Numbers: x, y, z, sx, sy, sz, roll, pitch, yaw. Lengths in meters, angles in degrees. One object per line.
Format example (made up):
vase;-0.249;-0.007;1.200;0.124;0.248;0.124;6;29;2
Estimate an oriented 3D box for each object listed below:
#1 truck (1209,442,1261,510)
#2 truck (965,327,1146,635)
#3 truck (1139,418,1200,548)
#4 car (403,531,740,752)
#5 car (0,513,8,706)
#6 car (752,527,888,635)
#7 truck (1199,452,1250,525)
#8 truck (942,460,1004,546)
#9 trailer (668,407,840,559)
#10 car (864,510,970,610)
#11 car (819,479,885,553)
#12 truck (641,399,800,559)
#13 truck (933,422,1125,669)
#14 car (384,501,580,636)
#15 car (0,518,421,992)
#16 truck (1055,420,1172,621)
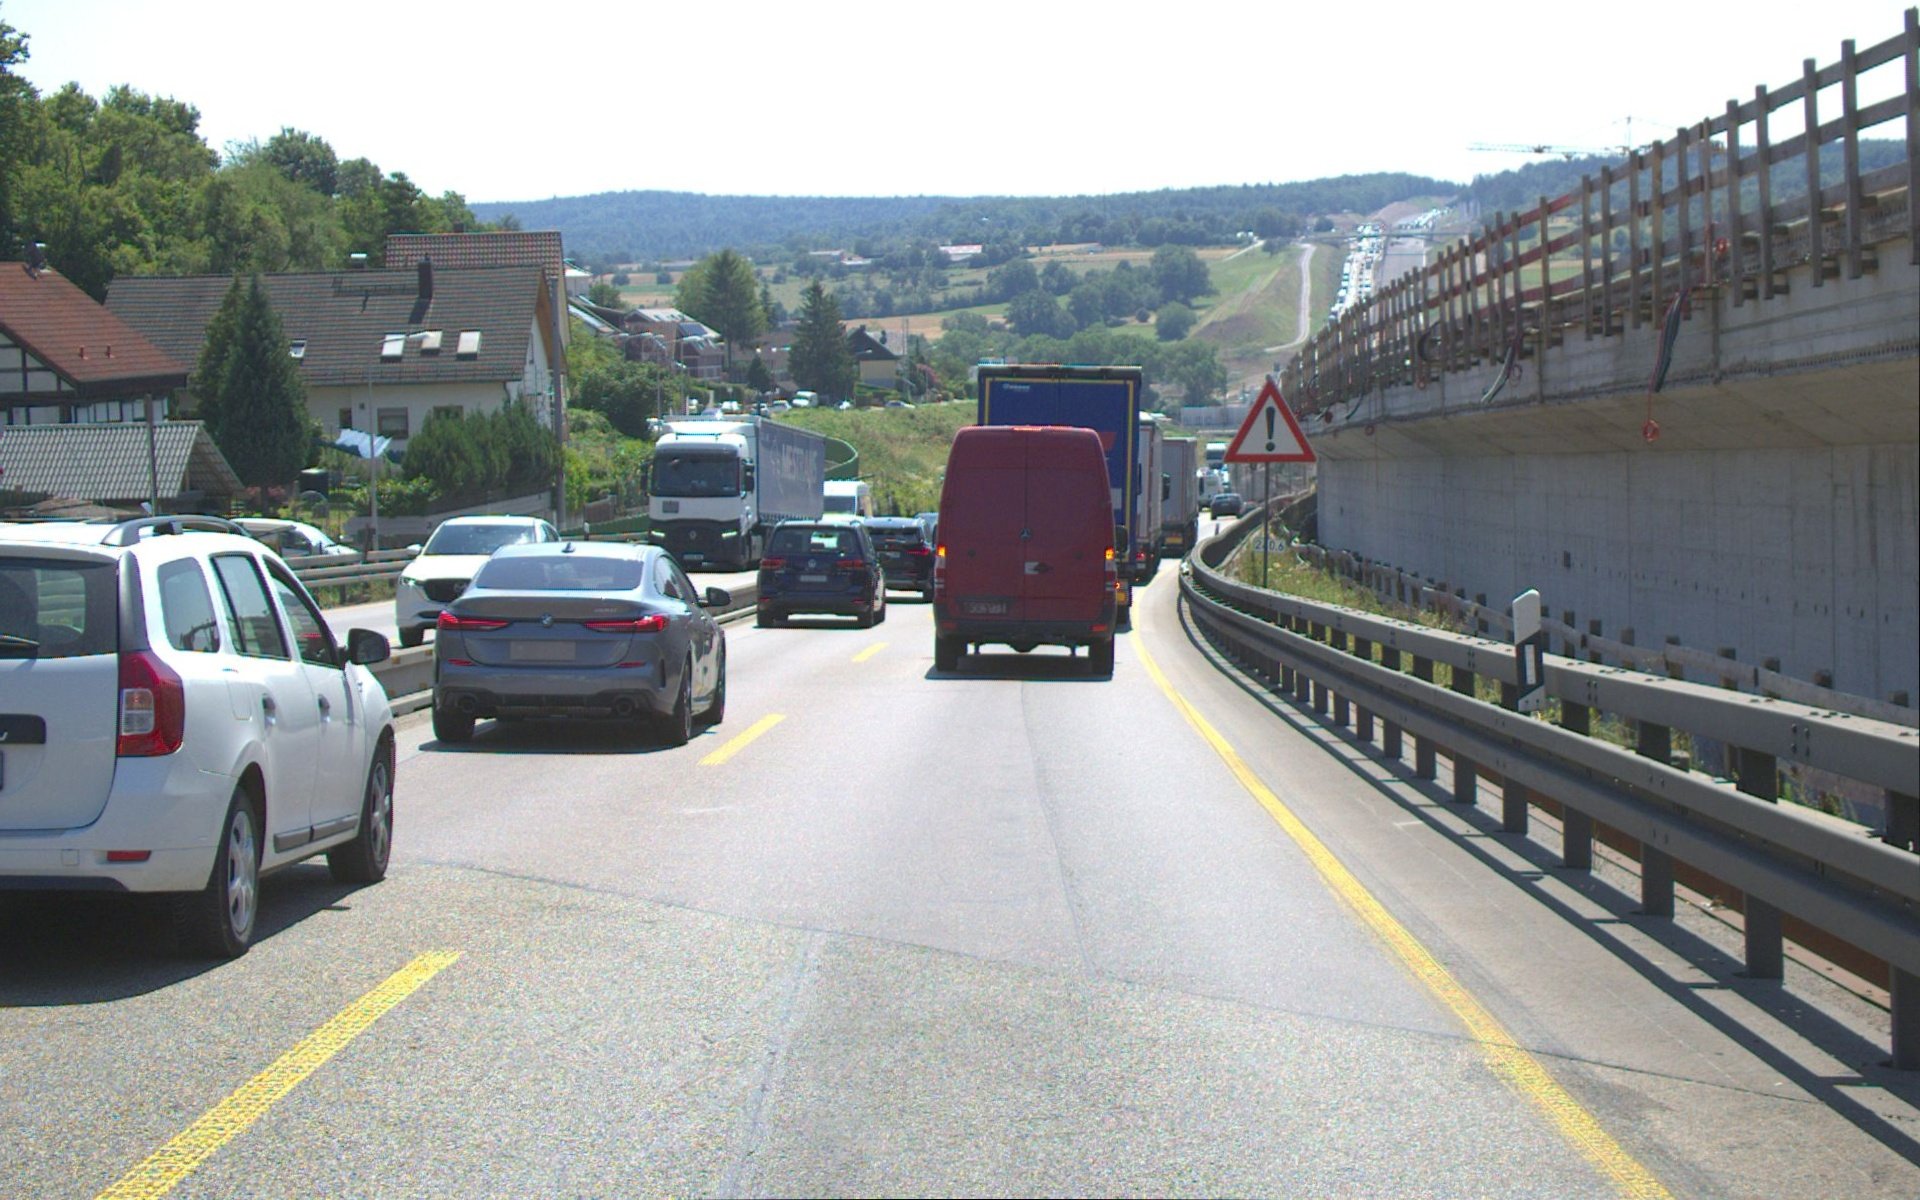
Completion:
truck;18.853;-8.469;235.404;3.468;4.366;8.555;0;0;5
truck;1.652;-1.868;58.447;2.786;4.799;9.684;0;0;2
truck;7.267;-4.005;118.959;1.994;4.366;3.999;0;0;5
car;-2.754;0.249;25.210;1.795;1.480;4.049;0;1;3
car;-9.586;0.088;28.855;1.905;1.736;4.662;0;0;0
car;-2.139;-0.292;53.412;1.810;1.602;3.719;0;0;2
truck;16.458;-6.872;213.355;3.069;4.366;8.556;0;1;5
truck;0.650;-4.632;165.030;2.509;3.951;5.174;1;0;5
trailer;-5.716;-3.280;97.758;3.136;4.065;11.817;0;1;5
car;-0.784;-0.741;65.224;1.729;1.832;3.999;0;0;3
car;-3.853;-3.021;123.288;2.005;2.594;5.979;0;2;2
truck;-6.274;-3.169;91.149;3.136;4.065;6.878;0;1;5
truck;0.756;-0.579;38.012;1.993;2.570;4.000;0;0;1
car;-6.248;-0.405;45.391;1.750;1.681;4.387;0;0;3
car;-3.271;0.487;12.990;1.651;1.478;4.266;-2;0;2
truck;3.847;-1.928;87.299;2.786;4.799;9.684;0;0;2
